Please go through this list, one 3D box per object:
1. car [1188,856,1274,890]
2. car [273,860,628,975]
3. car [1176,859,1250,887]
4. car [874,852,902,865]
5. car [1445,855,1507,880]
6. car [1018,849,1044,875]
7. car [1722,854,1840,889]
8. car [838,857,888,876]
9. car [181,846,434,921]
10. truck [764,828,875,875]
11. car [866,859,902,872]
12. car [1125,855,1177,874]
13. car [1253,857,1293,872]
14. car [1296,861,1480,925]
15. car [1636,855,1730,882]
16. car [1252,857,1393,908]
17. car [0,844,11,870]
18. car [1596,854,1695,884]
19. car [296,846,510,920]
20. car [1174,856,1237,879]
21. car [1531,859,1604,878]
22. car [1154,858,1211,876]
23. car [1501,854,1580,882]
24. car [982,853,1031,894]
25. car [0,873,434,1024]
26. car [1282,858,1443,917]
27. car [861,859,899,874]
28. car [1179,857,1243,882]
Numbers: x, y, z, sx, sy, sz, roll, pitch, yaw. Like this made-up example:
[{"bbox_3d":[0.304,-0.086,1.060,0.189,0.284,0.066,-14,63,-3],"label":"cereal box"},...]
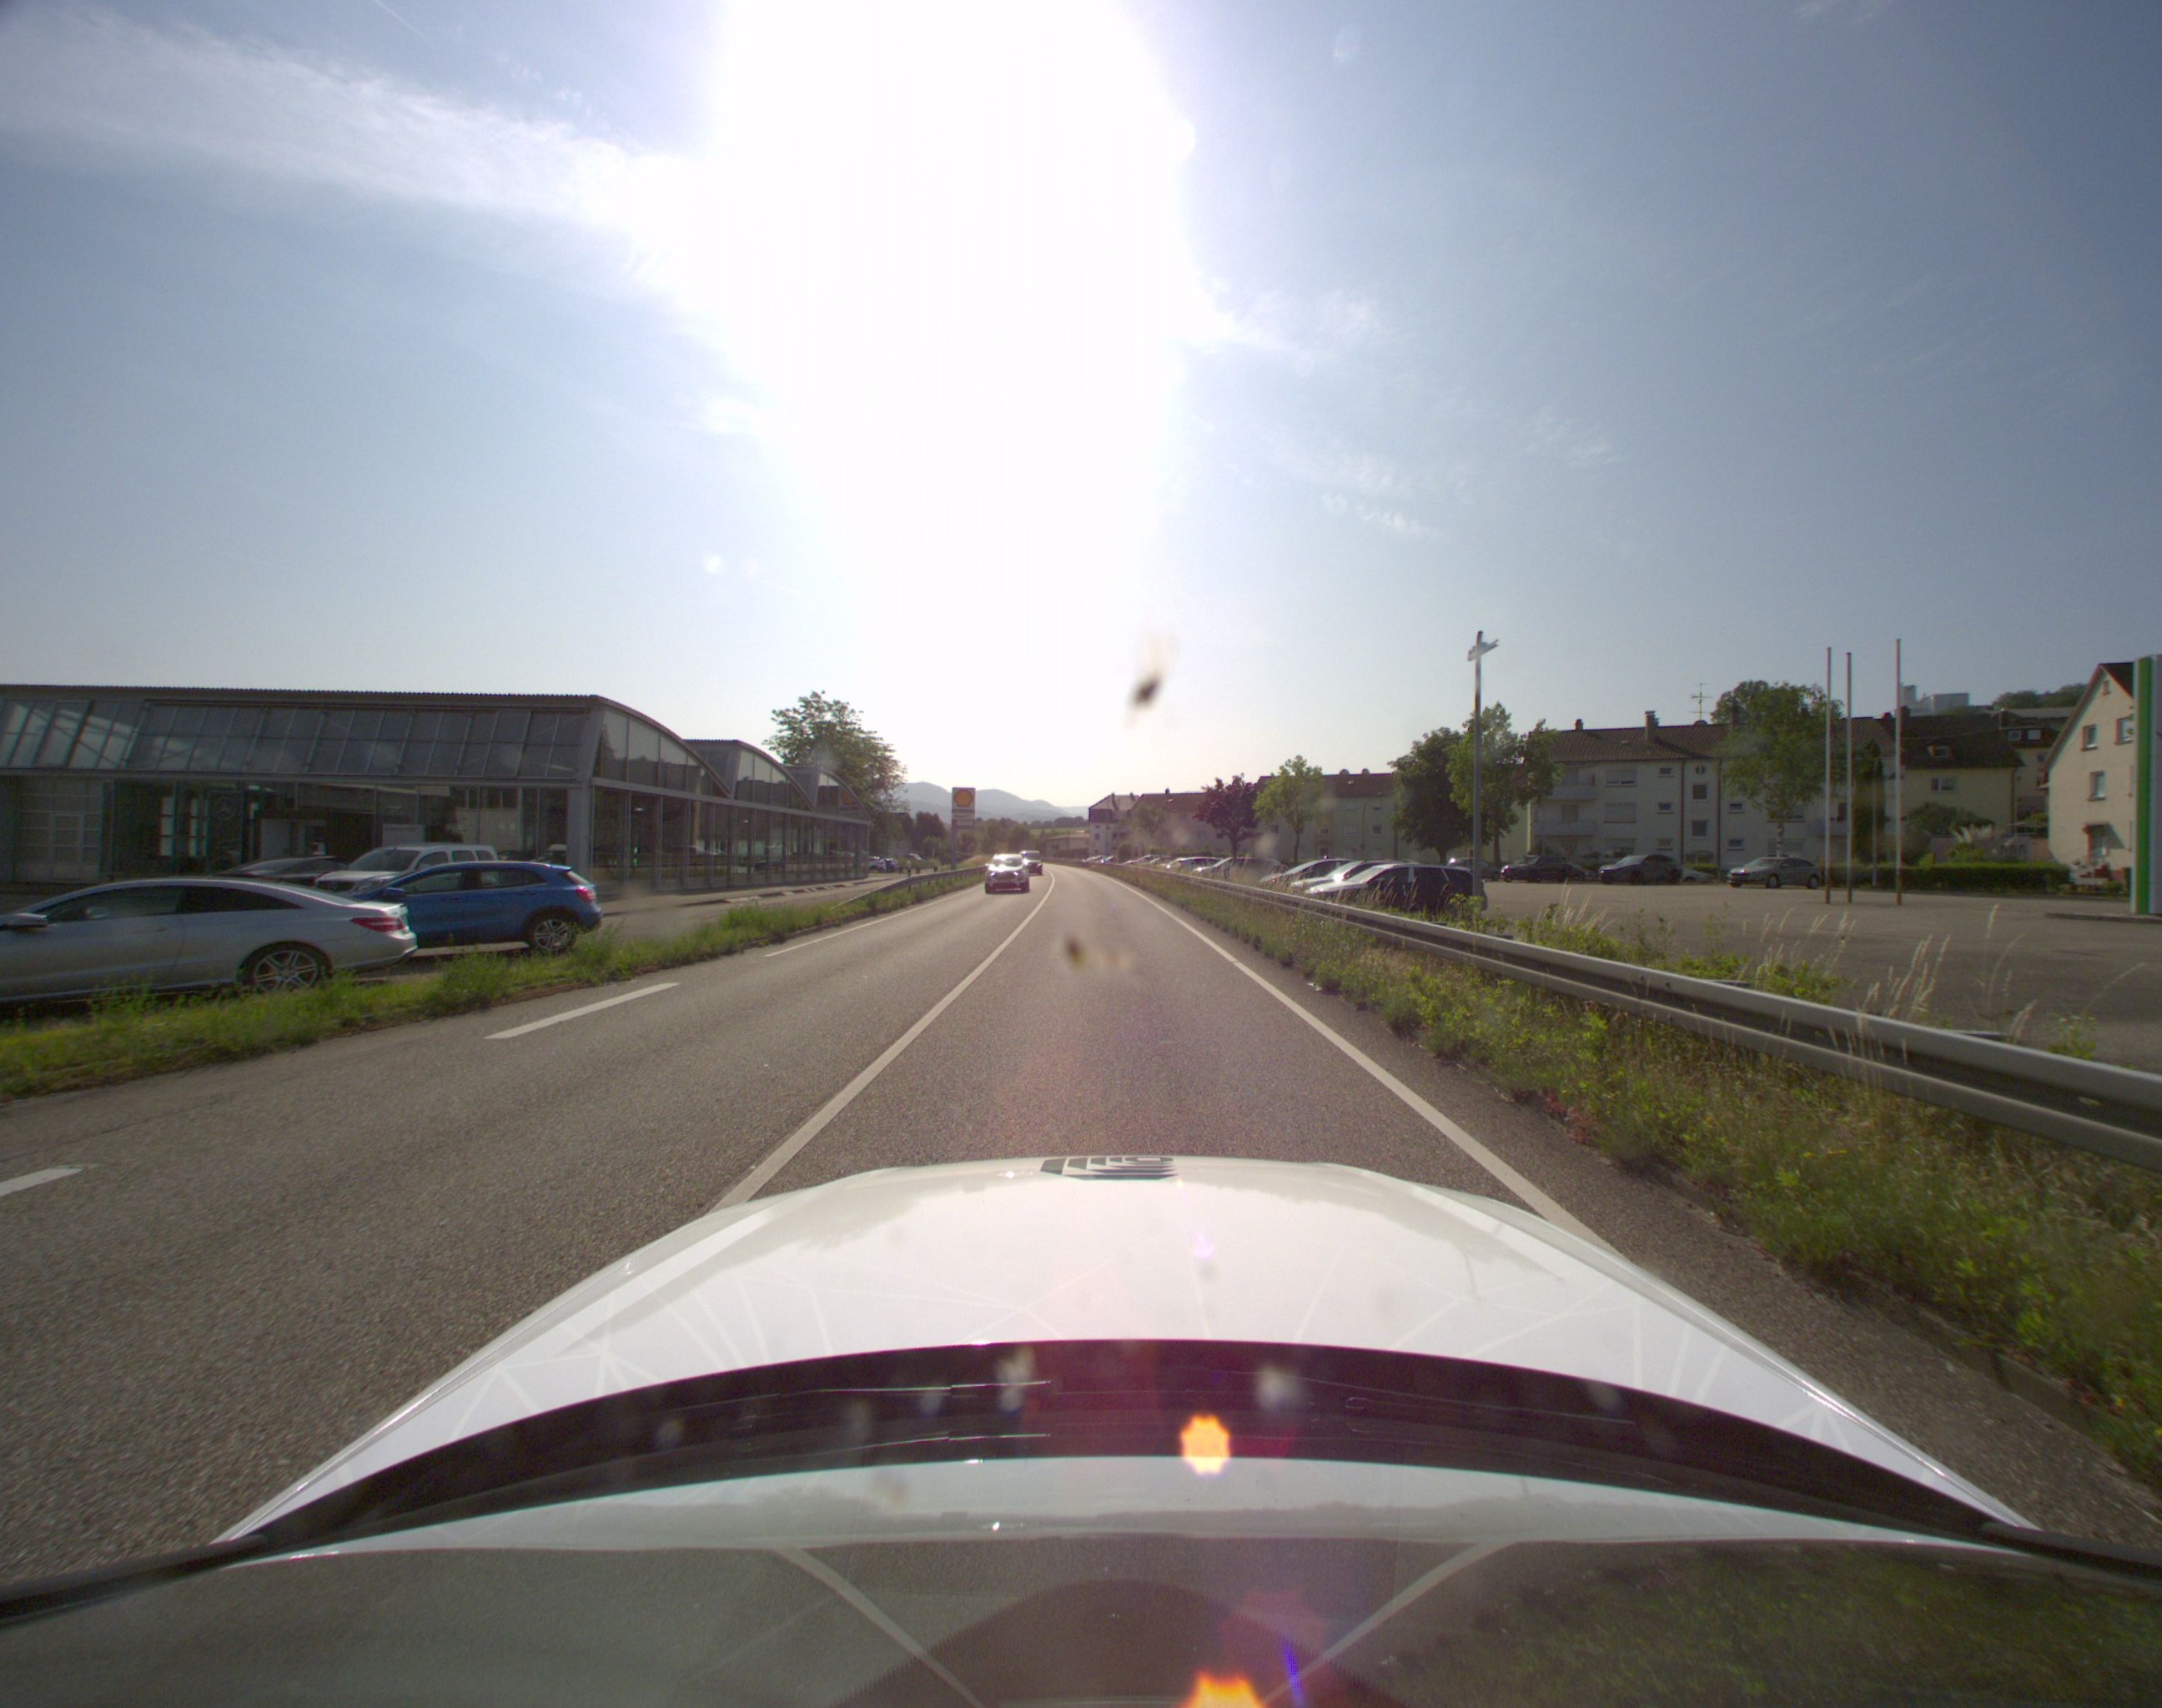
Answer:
[{"bbox_3d":[7.567,0.951,41.312,3.976,1.640,1.886,0,-1,-2],"label":"car"},{"bbox_3d":[-9.875,0.871,13.123,4.253,1.507,1.962,0,0,-39],"label":"car"},{"bbox_3d":[7.643,1.071,47.320,3.982,1.580,1.775,0,-1,-6],"label":"car"},{"bbox_3d":[-30.852,0.757,130.353,4.844,2.013,2.012,0,0,44],"label":"car"},{"bbox_3d":[24.908,0.830,51.341,3.774,1.521,1.642,0,0,-28],"label":"car"},{"bbox_3d":[-3.899,0.633,63.411,1.910,1.885,4.904,-1,0,-3],"label":"car"},{"bbox_3d":[32.615,0.794,37.949,4.757,1.521,1.985,0,-1,-18],"label":"car"},{"bbox_3d":[-20.518,1.187,76.818,4.347,1.655,1.927,1,-1,-8],"label":"car"},{"bbox_3d":[-19.839,0.658,21.292,1.798,1.713,4.941,0,1,2],"label":"car"},{"bbox_3d":[-20.749,-0.163,65.043,2.770,3.557,8.263,1,0,38],"label":"truck"},{"bbox_3d":[-22.816,1.331,94.345,3.742,1.460,1.857,0,-1,-6],"label":"car"},{"bbox_3d":[6.108,0.935,71.126,4.307,1.640,2.139,0,-1,-2],"label":"car"},{"bbox_3d":[17.594,0.971,74.894,1.659,1.366,3.631,0,-1,-26],"label":"car"},{"bbox_3d":[7.913,0.989,21.278,4.146,1.491,1.731,-1,-1,0],"label":"car"},{"bbox_3d":[34.490,0.799,46.754,1.790,1.475,3.955,0,-1,-25],"label":"car"},{"bbox_3d":[7.976,0.929,27.150,4.146,1.545,1.740,-1,-1,0],"label":"car"},{"bbox_3d":[-69.897,0.176,51.404,3.953,1.604,1.739,-1,-2,21],"label":"car"},{"bbox_3d":[29.751,0.750,42.964,4.632,1.521,1.853,0,-1,-18],"label":"car"},{"bbox_3d":[-17.542,0.652,21.413,1.798,1.713,4.411,0,1,3],"label":"car"},{"bbox_3d":[8.438,0.907,55.278,3.977,1.521,1.696,0,-1,-3],"label":"car"},{"bbox_3d":[30.683,0.904,51.420,1.599,1.186,3.627,0,-1,-30],"label":"car"},{"bbox_3d":[8.134,1.048,65.329,4.311,1.444,1.626,0,-1,-4],"label":"car"},{"bbox_3d":[27.179,0.808,48.188,4.504,1.600,1.826,0,-1,-25],"label":"car"},{"bbox_3d":[-3.215,0.814,35.920,1.787,1.630,4.225,-1,0,-1],"label":"car"},{"bbox_3d":[-10.234,0.963,9.317,4.416,1.367,1.832,0,0,-39],"label":"car"},{"bbox_3d":[8.248,0.963,24.138,4.146,1.556,1.771,-1,-1,0],"label":"car"},{"bbox_3d":[-21.744,1.372,88.304,3.742,1.499,1.928,1,-1,-6],"label":"car"},{"bbox_3d":[8.360,0.972,52.438,3.836,1.568,1.806,0,-1,-2],"label":"car"}]
